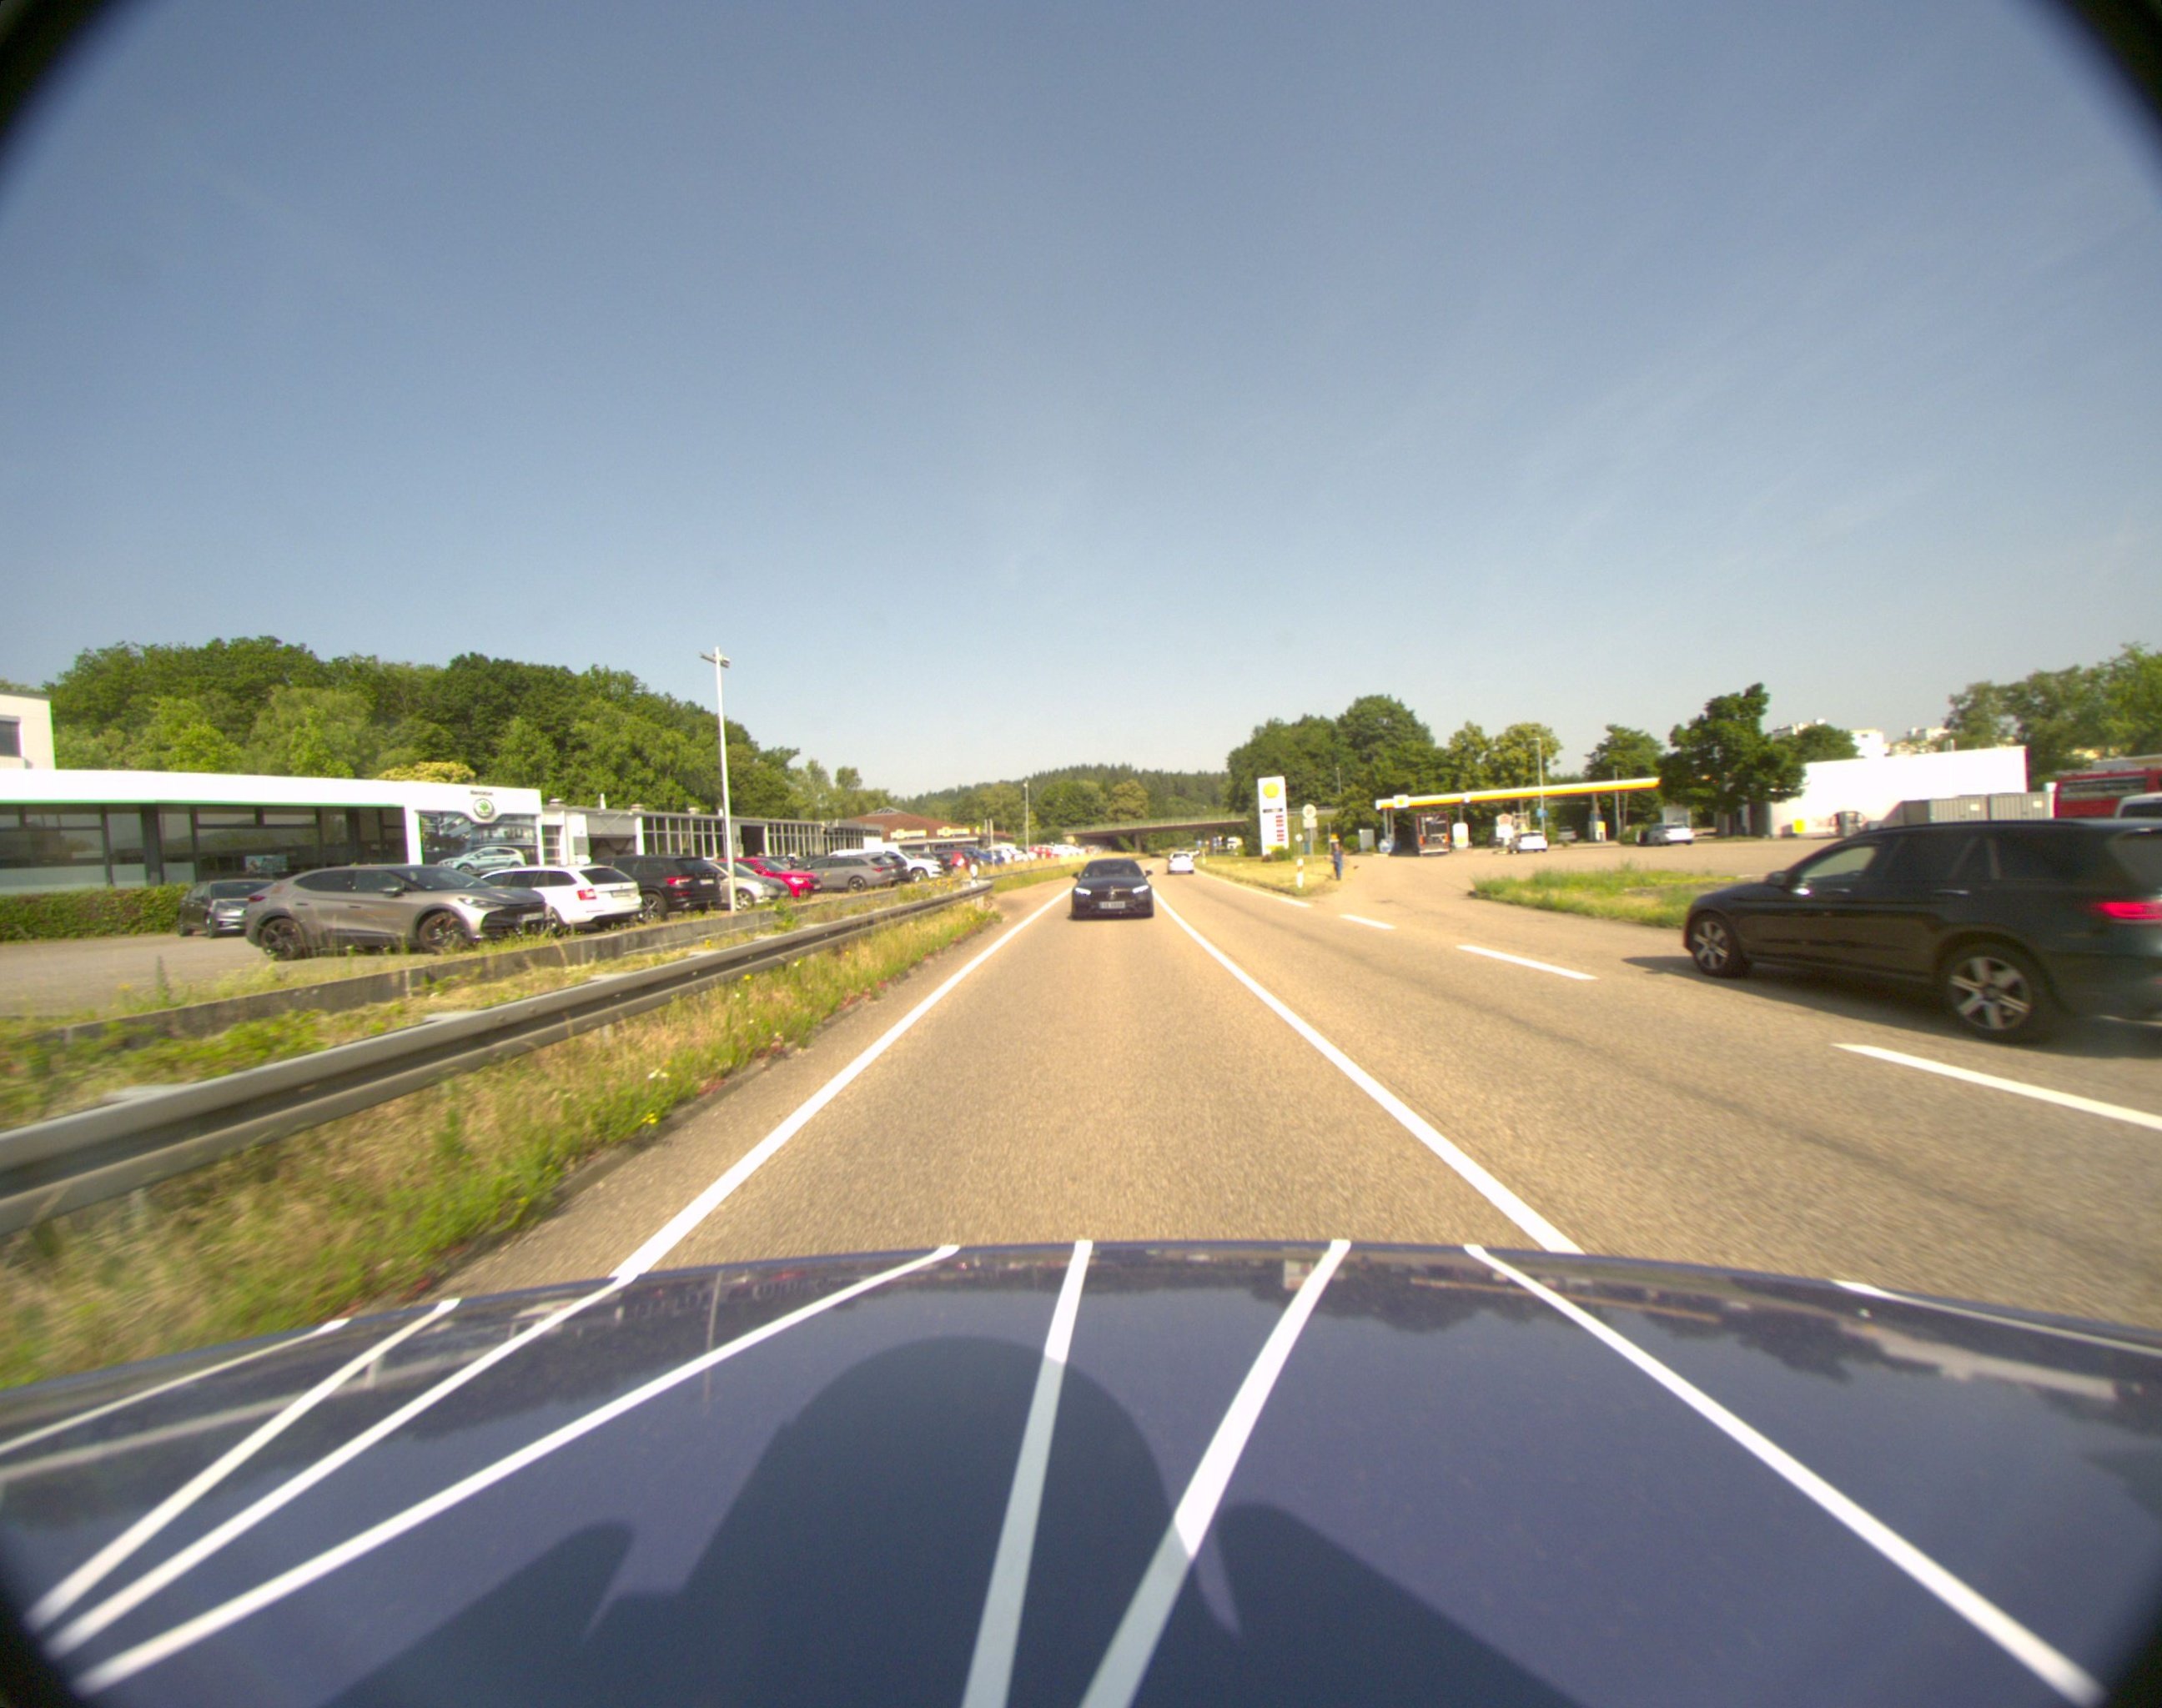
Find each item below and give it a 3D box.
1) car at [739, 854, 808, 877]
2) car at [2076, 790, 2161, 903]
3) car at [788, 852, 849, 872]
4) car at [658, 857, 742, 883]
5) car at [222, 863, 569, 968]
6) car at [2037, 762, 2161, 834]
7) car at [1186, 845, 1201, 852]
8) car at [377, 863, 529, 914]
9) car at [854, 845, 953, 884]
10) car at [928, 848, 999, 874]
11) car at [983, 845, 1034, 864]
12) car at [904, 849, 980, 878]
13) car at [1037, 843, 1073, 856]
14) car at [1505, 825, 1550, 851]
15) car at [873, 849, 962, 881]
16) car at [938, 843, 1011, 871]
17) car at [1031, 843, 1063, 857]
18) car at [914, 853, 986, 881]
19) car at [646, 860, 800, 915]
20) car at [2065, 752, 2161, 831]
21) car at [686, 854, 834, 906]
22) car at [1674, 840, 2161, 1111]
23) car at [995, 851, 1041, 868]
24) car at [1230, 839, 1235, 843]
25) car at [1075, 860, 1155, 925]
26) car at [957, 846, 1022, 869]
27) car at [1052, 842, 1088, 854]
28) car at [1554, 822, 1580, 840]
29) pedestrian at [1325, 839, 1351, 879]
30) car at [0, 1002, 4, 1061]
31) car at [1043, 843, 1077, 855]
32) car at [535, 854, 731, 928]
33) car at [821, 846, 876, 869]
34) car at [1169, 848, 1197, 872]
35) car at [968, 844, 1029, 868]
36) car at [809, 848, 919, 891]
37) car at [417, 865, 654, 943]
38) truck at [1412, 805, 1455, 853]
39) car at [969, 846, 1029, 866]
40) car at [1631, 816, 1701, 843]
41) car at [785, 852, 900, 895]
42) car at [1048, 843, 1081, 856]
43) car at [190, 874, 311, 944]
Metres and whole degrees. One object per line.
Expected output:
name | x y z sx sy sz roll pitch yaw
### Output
car | -22.488 0.804 55.689 4.319 1.516 1.791 -1 1 4
car | 20.051 -0.287 12.604 4.456 1.829 1.987 -5 1 -1
car | -21.627 0.633 62.596 4.319 1.456 1.791 -1 1 4
car | -23.804 0.971 47.572 4.319 1.456 1.791 -1 1 4
car | -12.002 1.035 13.524 4.458 1.591 1.854 -2 1 1
car | 37.971 -1.994 26.798 1.885 2.372 5.223 -3 0 1
car | 18.391 -0.890 124.698 1.808 1.166 4.099 -1 0 -1
car | -21.331 1.141 25.804 4.710 1.556 1.793 -1 1 20
car | -8.254 0.495 35.484 3.994 1.623 1.922 -2 1 10
car | -7.299 0.405 47.403 3.995 1.444 1.951 -2 1 5
car | -6.563 0.009 68.731 4.293 1.543 2.033 -1 1 3
car | -7.588 0.488 41.685 3.738 1.398 1.823 -2 1 5
car | -3.107 -0.581 91.768 3.995 1.456 1.878 -1 1 7
car | 30.321 -1.079 51.690 1.717 1.557 4.663 -2 0 19
car | -8.270 0.534 38.683 3.995 1.444 1.951 -2 1 5
car | -7.001 0.180 50.372 4.364 1.630 1.951 -2 1 7
car | -3.970 -0.474 89.322 3.544 1.456 1.806 -1 1 7
car | -7.673 0.757 44.690 3.741 1.420 1.779 -2 1 5
car | -10.478 0.956 22.377 3.739 1.450 1.665 -2 1 6
car | 41.255 -2.417 27.653 2.400 2.839 6.528 -3 0 1
car | -10.494 0.826 24.993 4.091 1.543 1.782 -2 1 6
car | 7.633 0.706 6.589 1.815 1.620 4.543 0 1 7
car | -5.997 0.518 72.406 3.995 1.543 1.806 -1 1 7
car | 50.630 -4.289 254.014 1.680 1.348 3.925 -1 1 10
car | 0.957 0.897 19.227 1.715 1.382 4.149 -1 0 6
car | -6.295 0.237 52.540 4.047 1.499 1.807 -1 1 8
car | -1.423 -0.793 101.899 4.569 1.456 1.878 -1 1 7
car | 48.180 -2.302 75.425 1.905 1.633 4.007 -3 0 29
pedestrian | 11.076 0.211 32.699 0.848 1.680 1.146 -2 1 27
car | -12.010 1.251 6.270 3.996 1.485 1.730 -2 1 4
car | -2.613 -0.646 94.716 3.995 1.456 1.878 -1 1 7
car | -11.100 0.901 18.963 3.885 1.654 1.841 -1 1 9
car | -20.848 0.278 68.132 4.319 1.914 1.791 -1 1 6
car | 6.707 0.387 50.298 1.681 1.464 3.708 -1 1 6
car | -5.992 0.120 55.653 4.053 1.608 1.881 -1 1 8
car | -9.156 0.624 32.250 3.995 1.623 1.922 -2 1 7
car | -11.596 1.047 16.271 4.043 1.477 1.723 -1 1 9
truck | 34.626 -2.429 75.104 3.056 4.111 16.795 -2 1 22
car | -6.415 0.135 59.925 4.357 1.486 1.880 -1 1 8
car | 36.985 -1.506 48.207 1.718 1.557 4.662 -3 0 13
car | -9.219 0.752 29.580 3.846 1.450 1.746 -2 1 4
car | -2.173 -0.598 98.110 3.995 1.456 1.878 -1 1 7
car | -22.049 1.354 20.132 4.344 1.556 1.794 -1 1 38
